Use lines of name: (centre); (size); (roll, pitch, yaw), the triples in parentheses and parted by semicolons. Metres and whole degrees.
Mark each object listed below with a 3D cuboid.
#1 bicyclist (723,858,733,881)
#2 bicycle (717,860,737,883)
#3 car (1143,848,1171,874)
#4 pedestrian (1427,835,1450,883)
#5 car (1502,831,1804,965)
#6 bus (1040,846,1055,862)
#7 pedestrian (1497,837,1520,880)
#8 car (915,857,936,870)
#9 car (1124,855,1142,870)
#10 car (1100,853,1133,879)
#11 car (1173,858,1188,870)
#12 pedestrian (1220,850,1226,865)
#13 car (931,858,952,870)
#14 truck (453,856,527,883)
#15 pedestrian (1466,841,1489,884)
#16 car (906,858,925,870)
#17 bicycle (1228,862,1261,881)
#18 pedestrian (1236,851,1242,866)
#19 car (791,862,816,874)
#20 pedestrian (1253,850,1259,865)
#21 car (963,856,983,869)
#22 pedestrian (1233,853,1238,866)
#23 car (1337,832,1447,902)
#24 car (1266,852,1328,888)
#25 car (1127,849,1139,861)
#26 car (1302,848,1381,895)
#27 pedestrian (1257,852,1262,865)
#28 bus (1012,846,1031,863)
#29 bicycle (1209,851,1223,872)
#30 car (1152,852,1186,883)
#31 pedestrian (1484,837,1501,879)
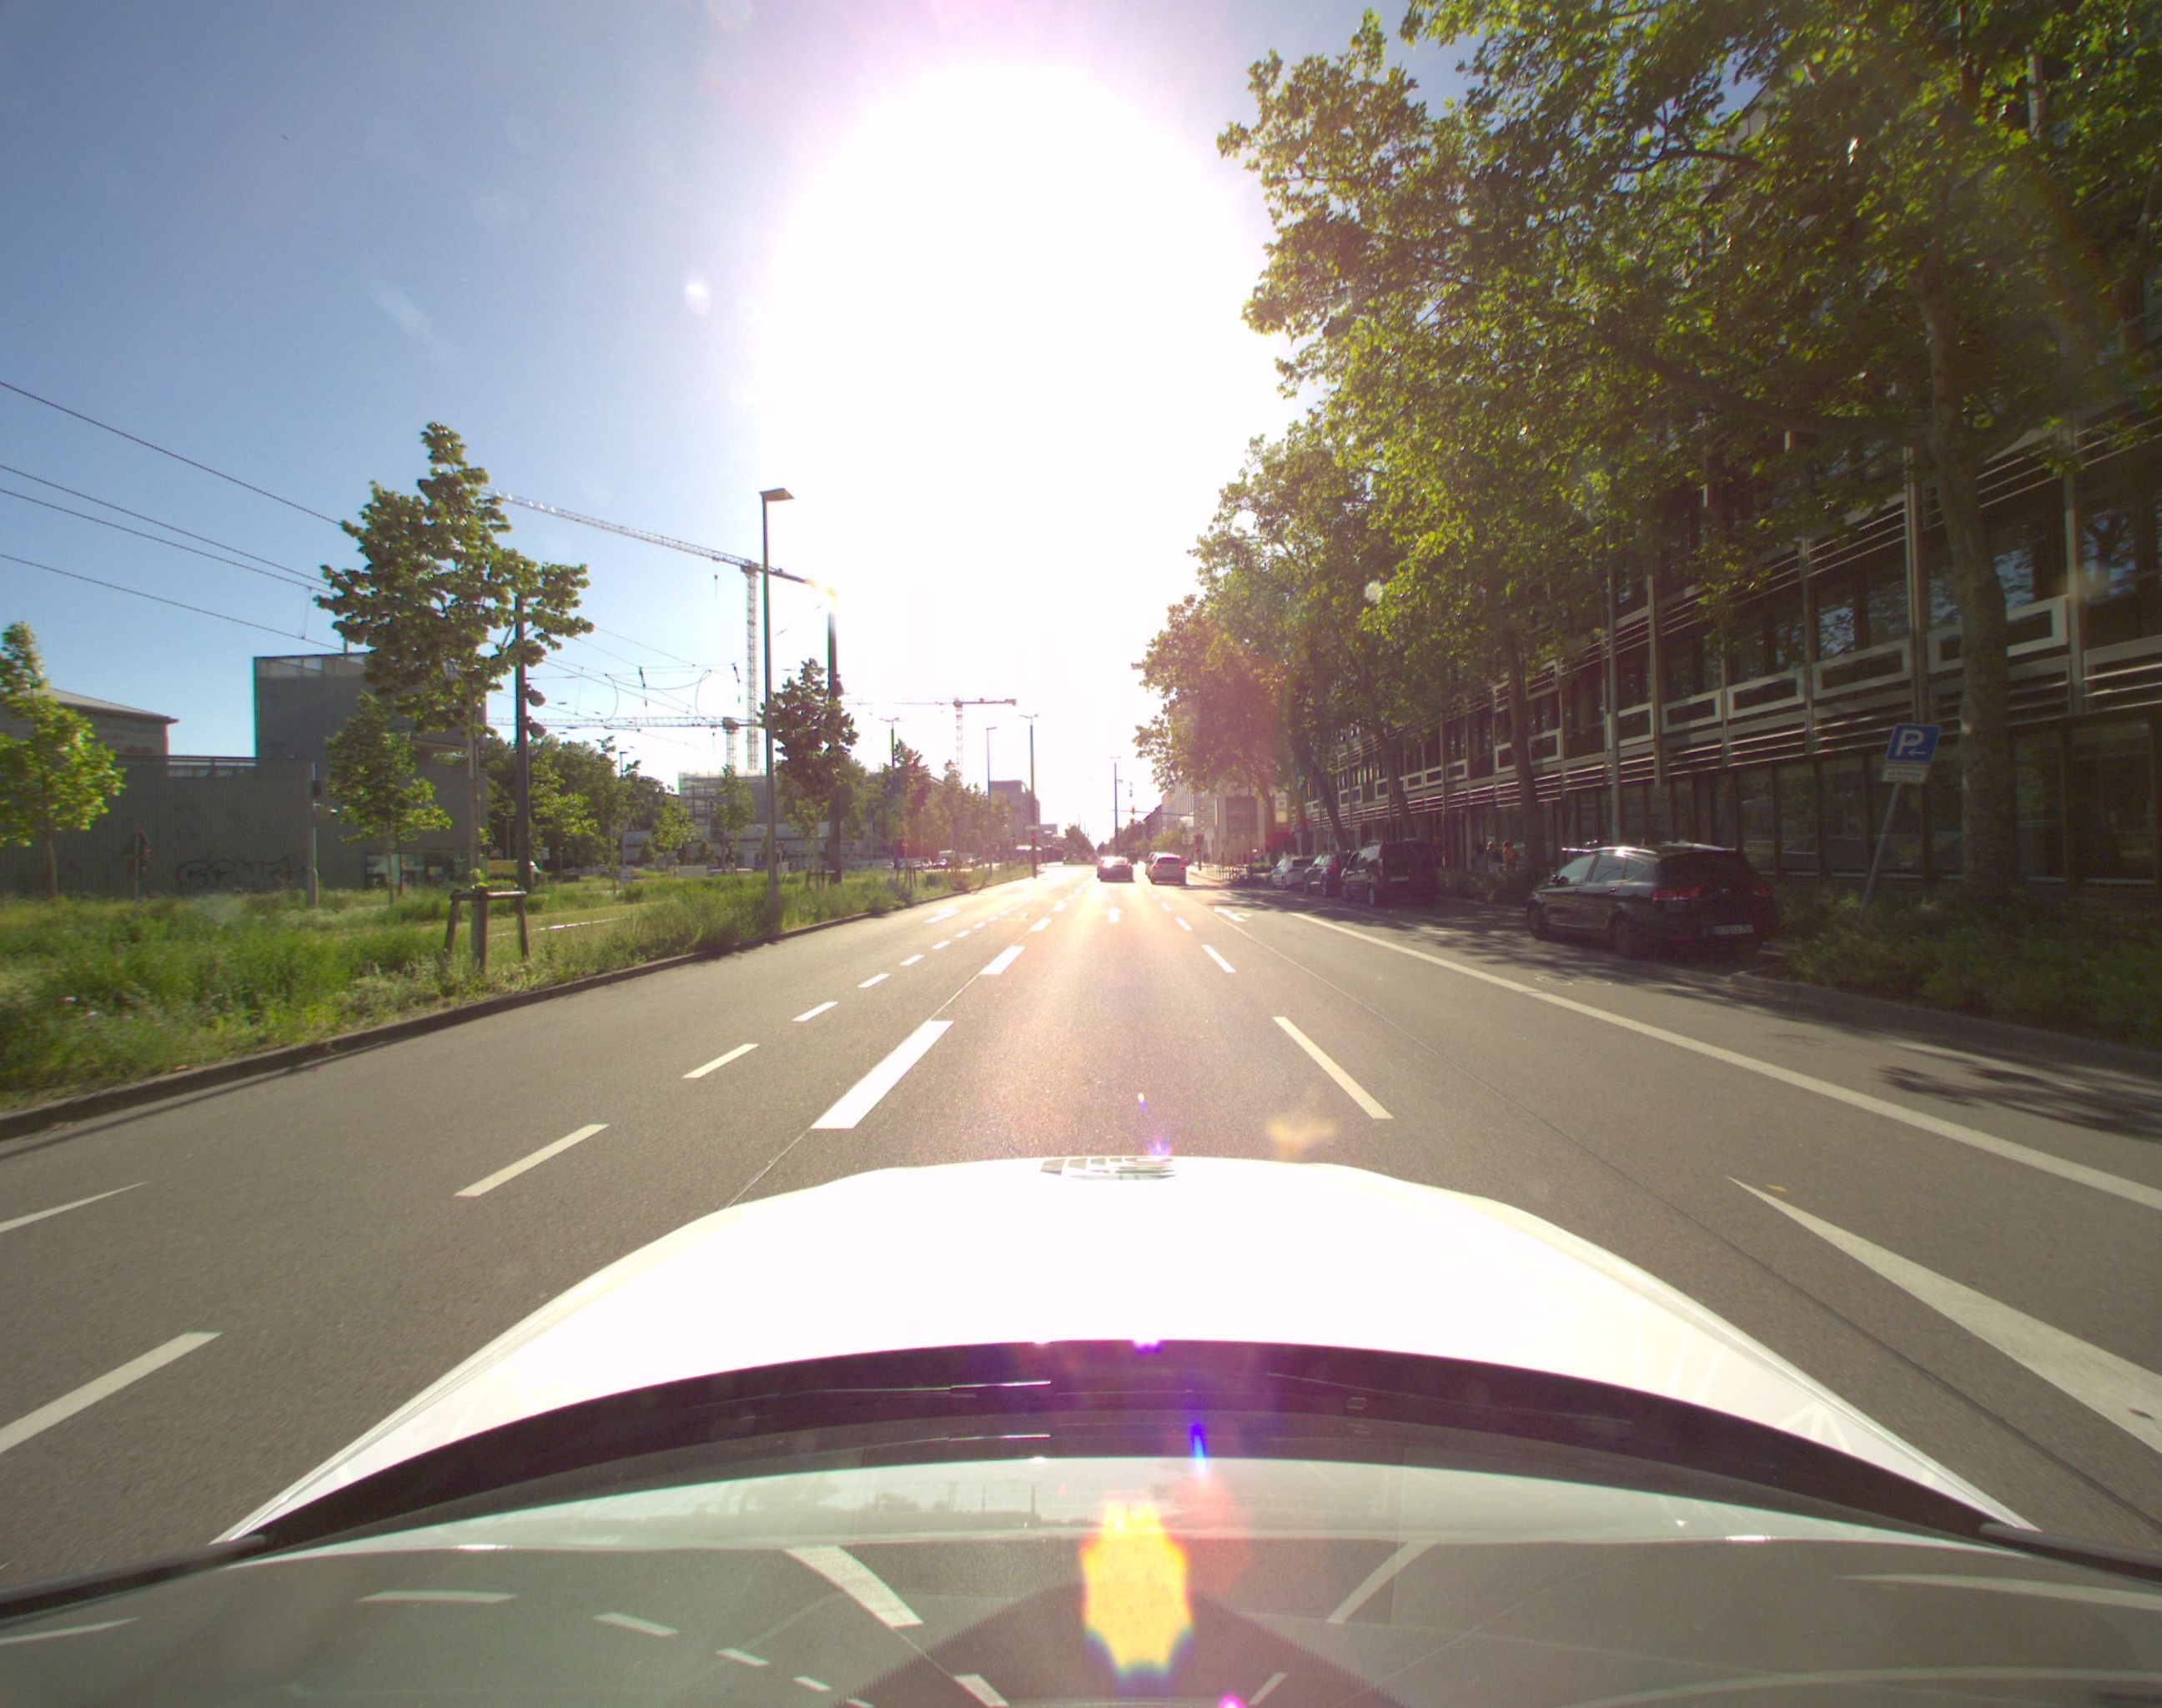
bicyclist: (-22.991, 1.007, 53.005); (0.393, 1.455, 0.540); (1, 0, 1)
bicycle: (-22.993, 1.134, 52.926); (0.359, 1.455, 1.915); (-1, 0, 3)
car: (5.473, 0.492, 59.044); (1.715, 1.782, 4.187); (-1, 0, 1)
pedestrian: (14.449, 0.214, 32.945); (0.674, 1.916, 0.557); (1, -1, 2)
car: (8.548, 0.558, 12.799); (1.696, 1.643, 4.641); (-3, 0, 4)
bus: (-6.438, -0.009, 157.590); (2.619, 2.959, 9.896); (1, -1, 0)
pedestrian: (16.053, 0.155, 30.565); (0.551, 1.603, 0.573); (-1, 0, 2)
car: (-15.442, 0.958, 81.196); (1.371, 1.178, 3.221); (1, -1, 2)
car: (4.962, 0.795, 78.346); (1.714, 1.431, 4.189); (-1, 0, 3)
car: (2.110, 0.708, 49.122); (1.905, 1.486, 4.011); (-1, 0, 1)
car: (14.050, 1.398, 115.322); (1.656, 1.649, 3.701); (1, -1, 1)
pedestrian: (13.380, 0.321, 76.718); (0.559, 1.441, 0.633); (1, -1, 9)
car: (-13.598, 0.963, 79.615); (1.371, 1.178, 3.221); (1, -1, 2)
truck: (-67.573, 1.758, 93.172); (6.939, 2.963, 2.000); (1, -1, 1)
pedestrian: (14.882, 0.315, 30.556); (0.505, 1.584, 0.634); (-1, 0, -6)
car: (-24.630, 1.481, 121.130); (1.830, 1.612, 3.897); (1, -1, 2)
bicycle: (9.012, 0.963, 44.914); (1.689, 0.957, 0.478); (-3, 0, -2)
pedestrian: (15.760, 0.422, 81.093); (0.559, 1.441, 0.633); (1, -1, 9)
car: (-36.046, 1.812, 105.936); (1.704, 1.556, 4.002); (1, -1, 3)
pedestrian: (17.366, 0.340, 80.975); (0.559, 1.441, 0.633); (1, -1, 9)
car: (-10.682, 0.844, 80.547); (1.371, 1.178, 3.221); (1, -1, 2)
pedestrian: (17.022, 0.568, 89.657); (0.559, 1.441, 0.633); (1, -1, 9)
car: (8.983, 0.348, 23.912); (1.697, 1.790, 4.195); (-3, 0, 2)
car: (9.552, 0.672, 36.368); (1.697, 1.492, 4.603); (-1, 0, 2)
car: (8.707, 0.155, 137.326); (1.985, 2.014, 4.002); (1, -1, 2)
car: (9.355, 0.588, 29.595); (1.697, 1.563, 4.195); (-1, 0, 2)
pedestrian: (19.850, 0.483, 90.502); (0.559, 1.441, 0.633); (1, -1, 9)
bus: (-10.261, 0.159, 140.696); (2.619, 2.783, 8.842); (1, -1, 0)
bicycle: (9.555, 0.554, 57.753); (0.560, 1.440, 2.577); (1, -1, 1)
car: (4.865, 0.714, 45.478); (1.714, 1.618, 4.191); (-1, 0, 4)
pedestrian: (15.448, 0.150, 30.593); (0.314, 1.584, 0.500); (-1, 0, -6)
